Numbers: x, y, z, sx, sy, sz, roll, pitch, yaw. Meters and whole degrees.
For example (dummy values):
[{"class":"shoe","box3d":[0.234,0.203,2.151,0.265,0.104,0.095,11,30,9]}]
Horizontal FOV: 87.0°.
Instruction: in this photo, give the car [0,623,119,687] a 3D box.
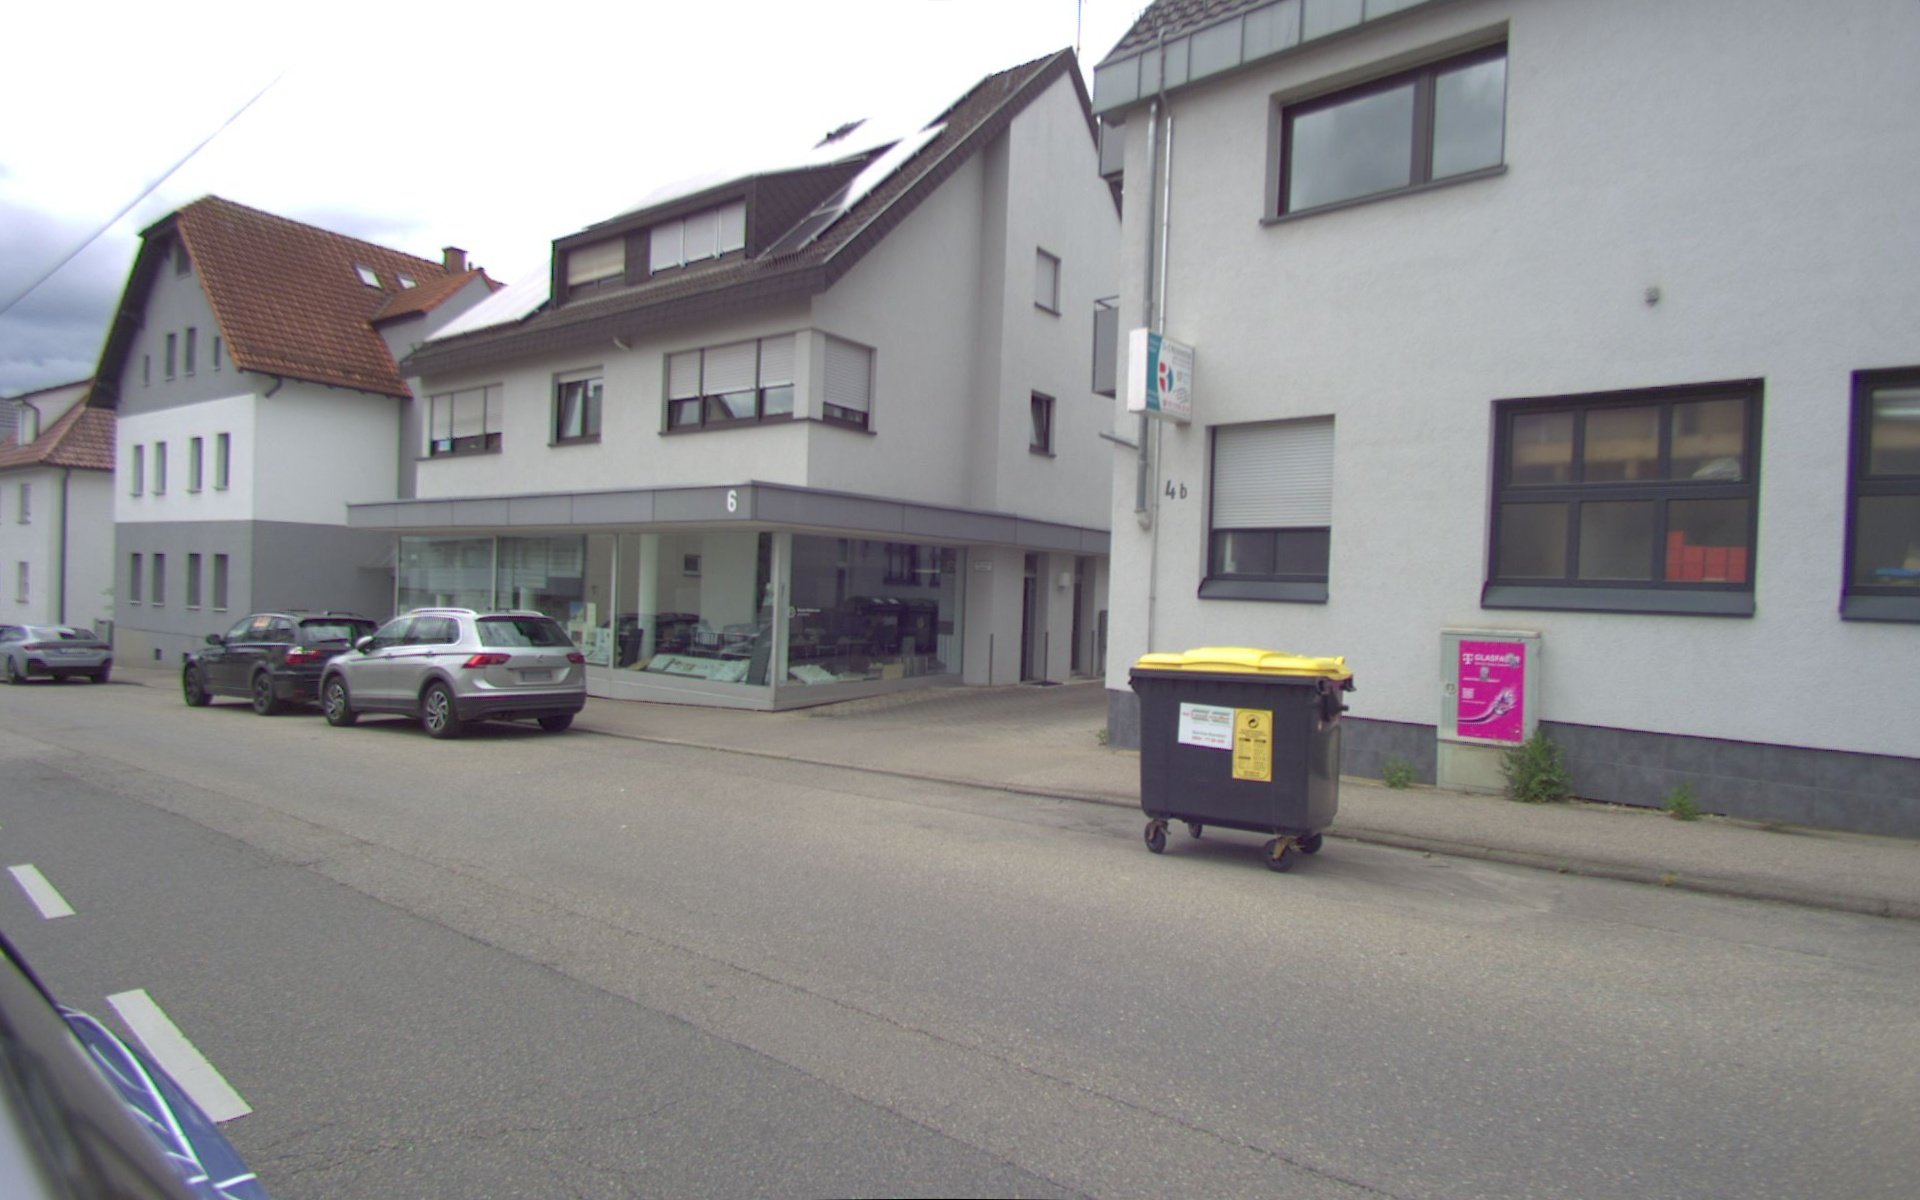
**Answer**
[{"class":"car","box3d":[-22.863,1.321,25.148,4.456,1.456,1.822,-1,-3,34]}]

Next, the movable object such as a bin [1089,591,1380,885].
[{"class":"movable object such as a bin","box3d":[1.794,0.803,6.607,1.559,1.645,1.130,-1,-3,34]}]

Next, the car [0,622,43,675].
[{"class":"car","box3d":[-28.197,1.365,28.943,3.986,1.456,1.823,-1,-3,31]}]

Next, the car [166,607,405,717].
[{"class":"car","box3d":[-11.470,0.992,17.129,4.397,1.645,1.822,-1,-3,34]}]

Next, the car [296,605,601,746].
[{"class":"car","box3d":[-7.075,0.950,13.859,4.397,1.645,1.822,-1,-3,34]}]
